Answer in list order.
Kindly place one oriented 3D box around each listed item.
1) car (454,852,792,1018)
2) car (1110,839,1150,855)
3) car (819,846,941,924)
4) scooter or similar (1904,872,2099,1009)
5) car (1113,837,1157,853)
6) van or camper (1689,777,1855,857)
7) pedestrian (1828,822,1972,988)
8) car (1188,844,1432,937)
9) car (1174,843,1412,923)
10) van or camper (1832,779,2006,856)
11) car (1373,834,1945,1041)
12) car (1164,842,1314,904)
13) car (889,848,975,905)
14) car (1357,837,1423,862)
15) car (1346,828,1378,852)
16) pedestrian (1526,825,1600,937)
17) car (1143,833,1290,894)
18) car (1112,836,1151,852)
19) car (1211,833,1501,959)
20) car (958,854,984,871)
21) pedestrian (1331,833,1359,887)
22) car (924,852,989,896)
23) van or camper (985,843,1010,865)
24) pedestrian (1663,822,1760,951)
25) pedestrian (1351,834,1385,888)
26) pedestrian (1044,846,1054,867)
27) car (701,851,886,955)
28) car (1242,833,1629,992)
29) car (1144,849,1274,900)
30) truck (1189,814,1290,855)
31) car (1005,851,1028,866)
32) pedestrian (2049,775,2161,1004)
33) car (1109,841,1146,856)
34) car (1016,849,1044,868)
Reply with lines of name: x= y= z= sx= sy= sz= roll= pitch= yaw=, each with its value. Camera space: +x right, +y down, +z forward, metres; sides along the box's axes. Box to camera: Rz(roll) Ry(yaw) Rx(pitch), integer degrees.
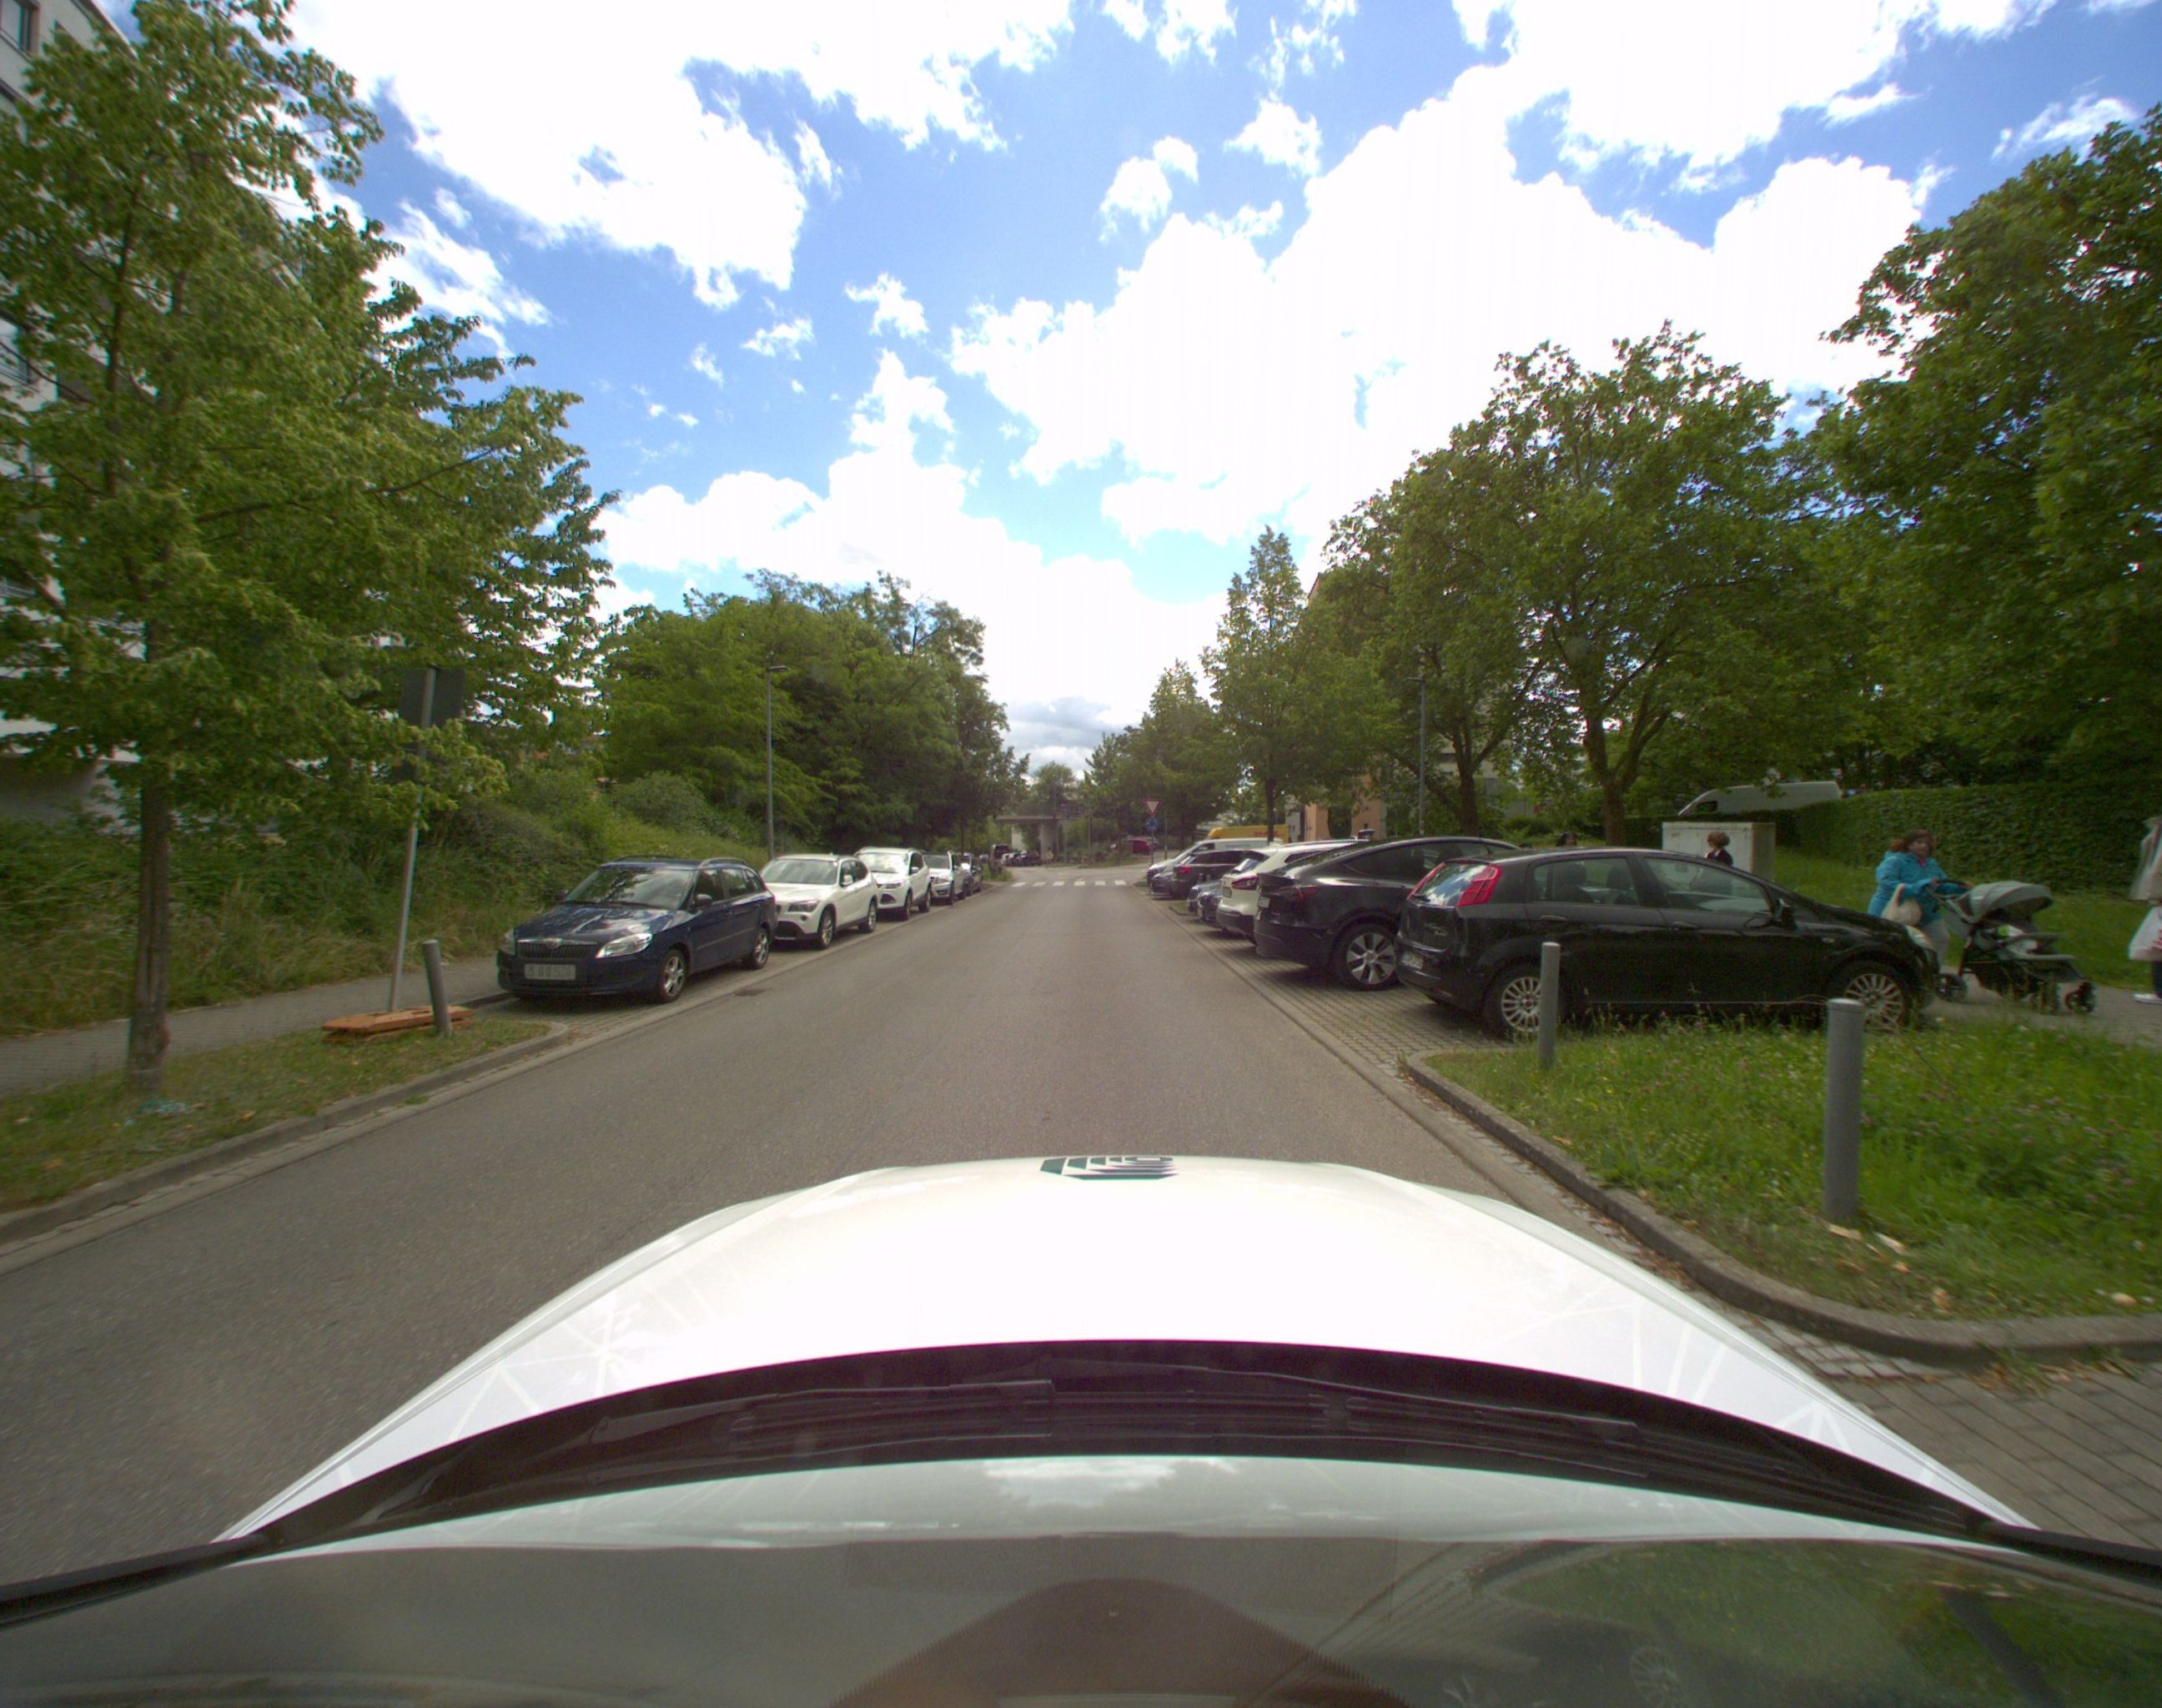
car: x=-5.110 y=0.774 z=9.807 sx=1.683 sy=1.487 sz=3.955 roll=2 pitch=1 yaw=2
car: x=4.567 y=-0.631 z=75.335 sx=3.631 sy=1.439 sz=1.687 roll=0 pitch=0 yaw=6
car: x=-4.846 y=0.671 z=20.323 sx=1.801 sy=1.664 sz=4.438 roll=2 pitch=1 yaw=1
scooter or similar: x=7.579 y=0.680 z=6.756 sx=0.578 sy=1.023 sz=0.944 roll=0 pitch=0 yaw=1
car: x=5.659 y=-0.942 z=85.360 sx=4.523 sy=1.668 sz=1.947 roll=0 pitch=0 yaw=3
van or camper: x=25.633 y=-1.301 z=30.452 sx=4.423 sy=2.798 sz=2.128 roll=0 pitch=0 yaw=30
pedestrian: x=7.589 y=0.448 z=7.581 sx=0.616 sy=1.468 sz=0.736 roll=0 pitch=0 yaw=1
car: x=3.927 y=0.613 z=14.558 sx=3.965 sy=1.519 sz=1.888 roll=0 pitch=0 yaw=7
car: x=4.447 y=0.580 z=17.532 sx=4.566 sy=1.492 sz=1.949 roll=-2 pitch=0 yaw=-4
van or camper: x=32.293 y=-1.336 z=31.602 sx=4.422 sy=2.798 sz=2.128 roll=0 pitch=1 yaw=37
car: x=4.590 y=0.624 z=6.909 sx=3.655 sy=1.498 sz=1.647 roll=-1 pitch=0 yaw=2
car: x=4.397 y=0.509 z=23.101 sx=3.815 sy=1.520 sz=1.910 roll=-3 pitch=0 yaw=-2
car: x=-4.684 y=0.645 z=26.272 sx=1.793 sy=1.615 sz=4.479 roll=2 pitch=1 yaw=1
car: x=21.813 y=-0.302 z=57.580 sx=3.983 sy=1.618 sz=1.722 roll=-2 pitch=0 yaw=0
car: x=21.480 y=-1.072 z=62.307 sx=1.559 sy=1.658 sz=3.785 roll=-3 pitch=0 yaw=8
pedestrian: x=8.002 y=0.433 z=13.549 sx=0.737 sy=1.792 sz=0.878 roll=0 pitch=0 yaw=1
car: x=4.651 y=0.325 z=28.398 sx=4.761 sy=1.831 sz=1.841 roll=-3 pitch=0 yaw=-2
car: x=5.128 y=-1.020 z=82.800 sx=3.969 sy=1.613 sz=1.947 roll=0 pitch=0 yaw=3
car: x=3.840 y=0.562 z=11.895 sx=3.655 sy=1.647 sz=1.853 roll=-1 pitch=0 yaw=2
car: x=-10.285 y=0.796 z=75.948 sx=1.791 sy=1.468 sz=3.975 roll=0 pitch=1 yaw=-18
pedestrian: x=8.238 y=0.182 z=25.436 sx=0.686 sy=1.657 sz=0.600 roll=0 pitch=0 yaw=-1
car: x=-4.738 y=0.723 z=31.505 sx=1.684 sy=1.465 sz=4.457 roll=2 pitch=0 yaw=1
van or camper: x=-10.460 y=-0.003 z=101.630 sx=1.998 sy=2.523 sz=5.440 roll=-3 pitch=0 yaw=-16
pedestrian: x=9.124 y=0.448 z=11.819 sx=0.737 sy=1.792 sz=0.878 roll=0 pitch=0 yaw=1
pedestrian: x=8.964 y=0.208 z=25.444 sx=0.866 sy=1.657 sz=0.593 roll=0 pitch=0 yaw=-1
pedestrian: x=-2.620 y=0.172 z=66.586 sx=0.654 sy=1.721 sz=0.741 roll=0 pitch=0 yaw=7
car: x=-4.952 y=0.754 z=14.701 sx=1.684 sy=1.511 sz=4.231 roll=2 pitch=1 yaw=1
car: x=3.777 y=0.600 z=9.147 sx=3.655 sy=1.574 sz=1.594 roll=-1 pitch=0 yaw=2
car: x=3.936 y=0.616 z=25.549 sx=3.809 sy=1.371 sz=1.844 roll=-3 pitch=0 yaw=2
truck: x=11.250 y=-1.356 z=58.225 sx=6.774 sy=2.702 sz=2.476 roll=1 pitch=-1 yaw=2
car: x=-7.214 y=0.500 z=90.819 sx=1.703 sy=1.496 sz=4.095 roll=-2 pitch=-1 yaw=-16
pedestrian: x=8.848 y=0.272 z=6.662 sx=0.828 sy=1.792 sz=0.878 roll=0 pitch=0 yaw=1
car: x=4.610 y=-0.541 z=80.481 sx=3.631 sy=1.498 sz=1.687 roll=0 pitch=0 yaw=6
car: x=-5.330 y=0.478 z=84.584 sx=1.818 sy=1.678 sz=4.343 roll=-2 pitch=-3 yaw=-17
